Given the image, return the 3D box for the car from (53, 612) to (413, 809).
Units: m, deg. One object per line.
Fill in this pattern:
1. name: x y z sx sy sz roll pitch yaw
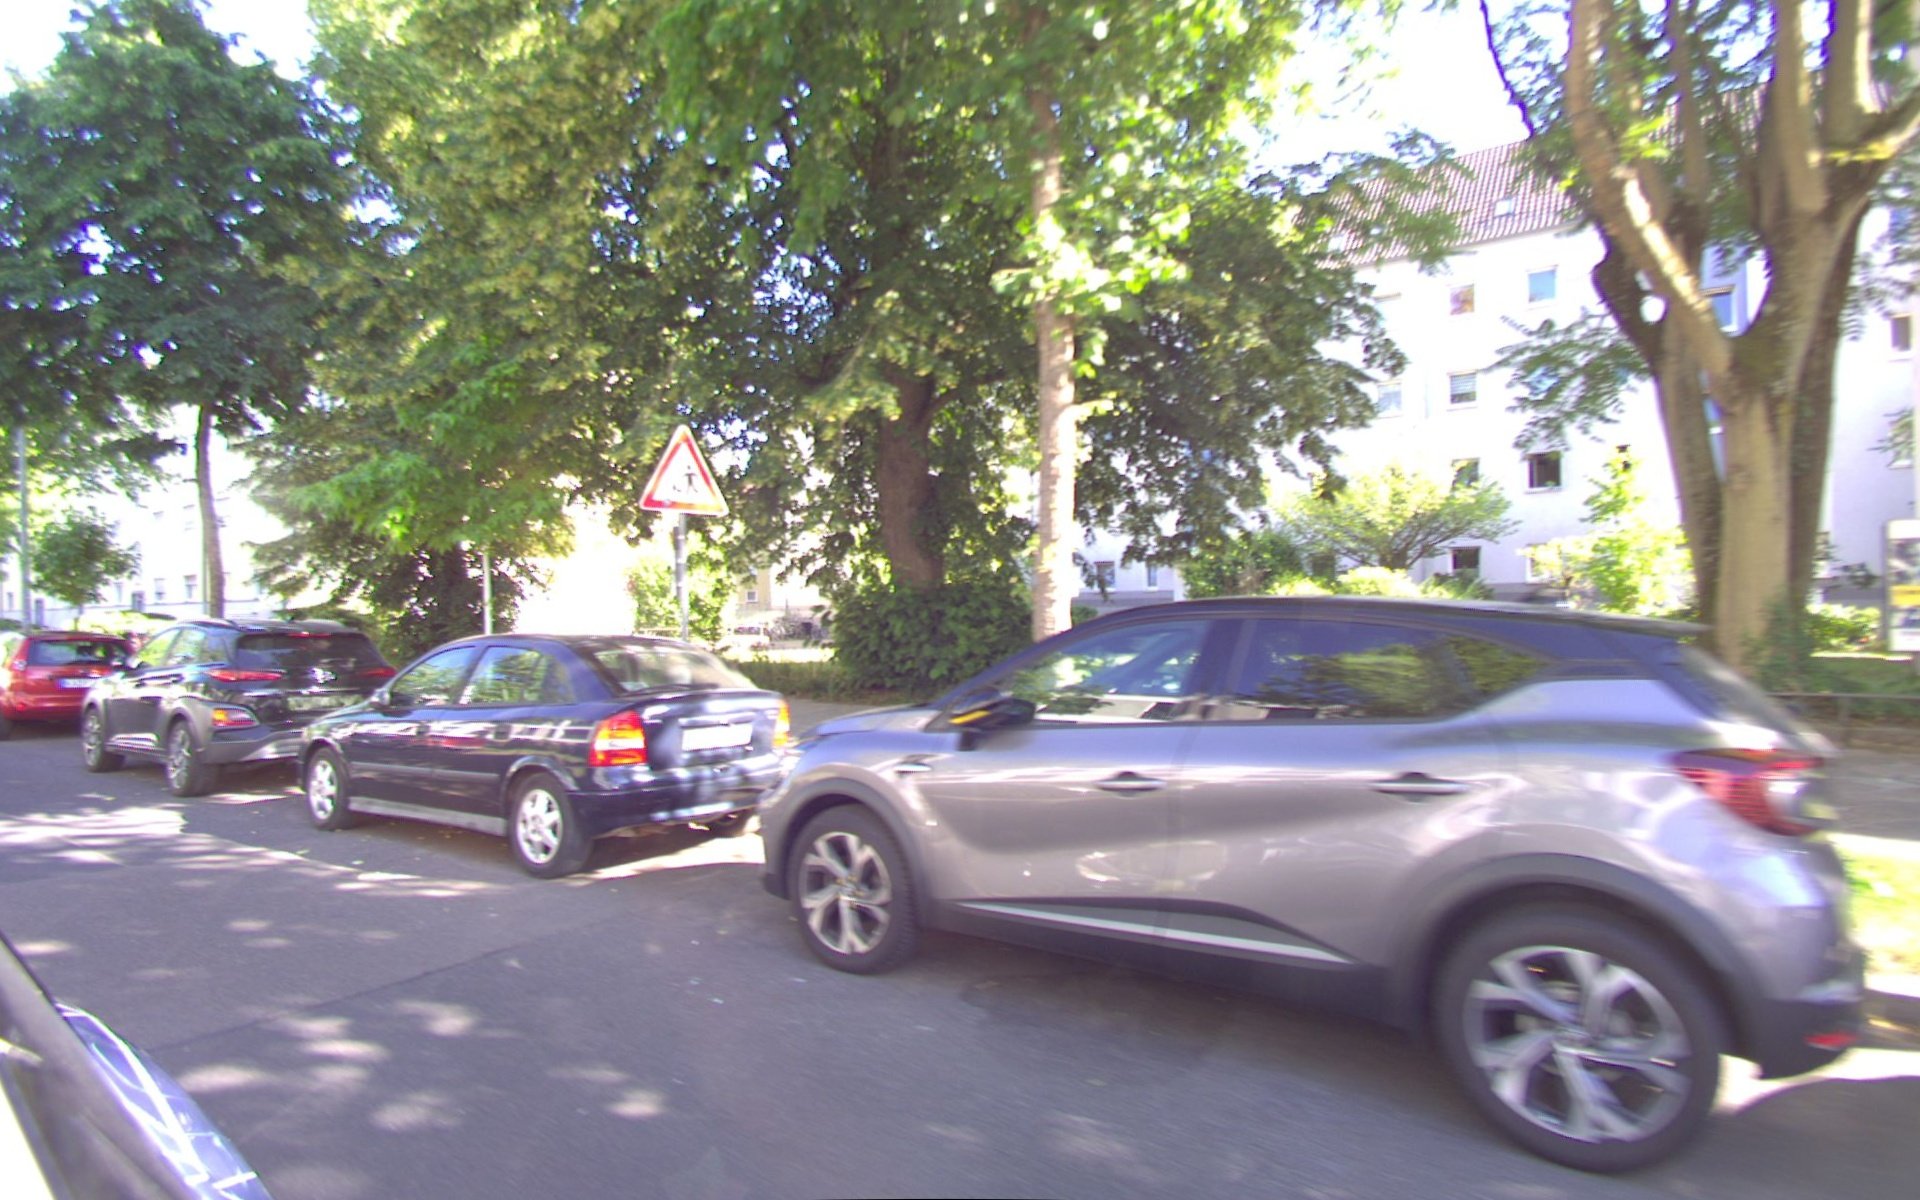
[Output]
1. car: -7.453 0.953 10.220 4.473 1.589 1.690 -2 -2 37

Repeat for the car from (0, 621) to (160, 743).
1. car: -13.267 1.086 14.557 4.058 1.516 1.640 -1 -1 34

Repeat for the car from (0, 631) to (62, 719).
1. car: -16.970 1.238 17.173 4.178 1.384 1.640 -1 -1 34

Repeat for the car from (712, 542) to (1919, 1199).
1. car: 1.162 0.679 4.016 4.411 1.543 1.753 -2 -1 37

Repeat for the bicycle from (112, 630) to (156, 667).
1. bicycle: -25.169 1.475 30.840 1.930 1.069 0.567 -1 0 36

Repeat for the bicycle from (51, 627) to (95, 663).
1. bicycle: -30.505 1.529 34.801 2.255 1.199 0.590 -1 -2 34

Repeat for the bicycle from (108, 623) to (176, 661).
1. bicycle: -28.866 1.466 35.743 0.516 1.235 1.805 -1 0 36

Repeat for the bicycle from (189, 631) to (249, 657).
1. bicycle: -27.444 1.603 37.489 0.584 0.876 1.694 -1 0 36

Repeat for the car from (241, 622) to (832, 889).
1. car: -3.187 0.865 7.245 4.470 1.363 1.770 -1 -1 34

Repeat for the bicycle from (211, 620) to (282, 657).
1. bicycle: -25.865 1.375 36.727 0.774 1.235 1.937 -1 0 32

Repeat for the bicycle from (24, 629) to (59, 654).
1. bicycle: -35.161 1.573 38.740 1.899 0.923 0.590 -1 -2 34
